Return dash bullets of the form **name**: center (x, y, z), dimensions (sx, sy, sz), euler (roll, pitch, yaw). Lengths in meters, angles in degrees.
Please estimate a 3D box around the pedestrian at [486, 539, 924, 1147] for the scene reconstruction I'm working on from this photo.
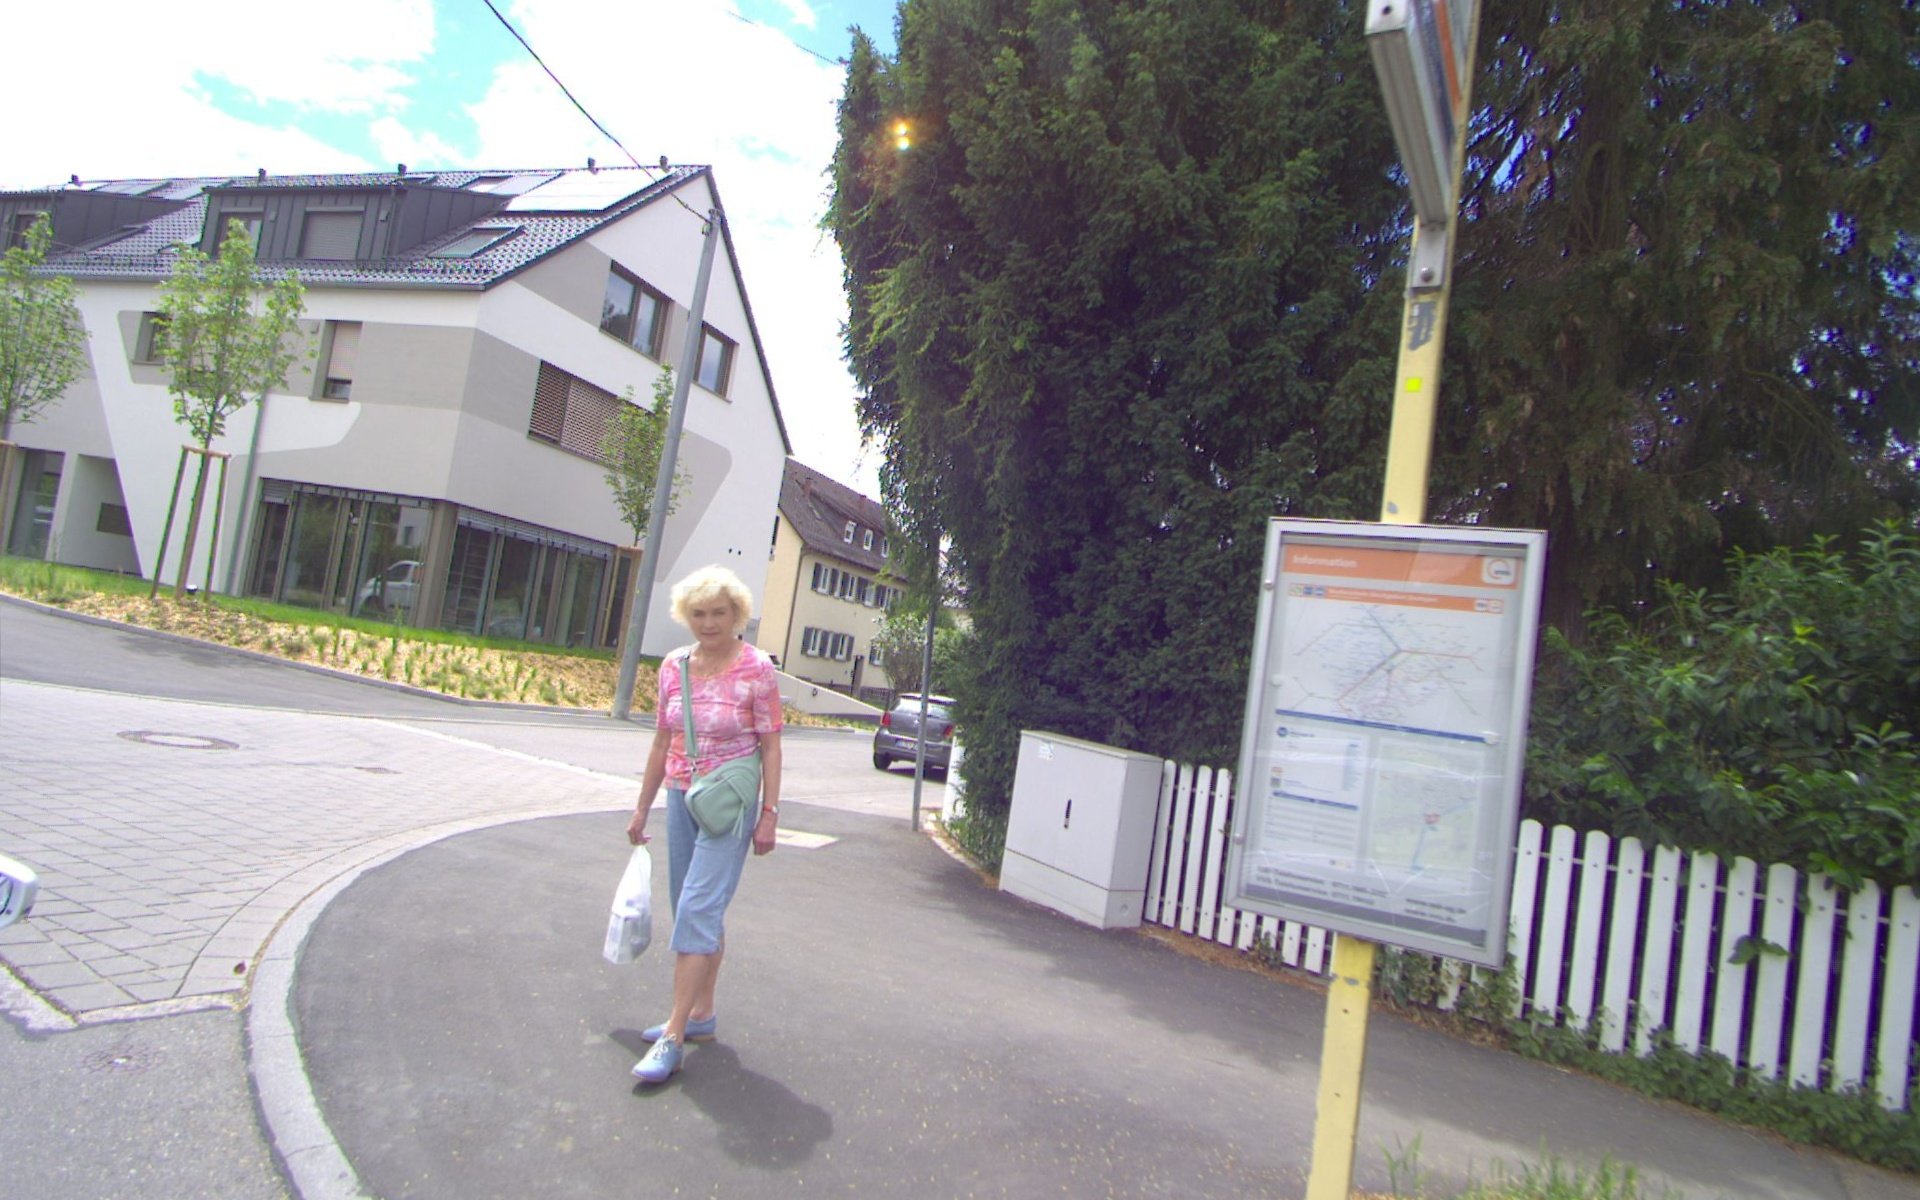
- **pedestrian**: center (-0.834, 0.718, 3.427), dimensions (0.869, 1.662, 0.856), euler (6, -4, 33)

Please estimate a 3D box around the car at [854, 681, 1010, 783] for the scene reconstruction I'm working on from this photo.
- **car**: center (-0.405, 2.510, 18.895), dimensions (1.682, 1.471, 3.544), euler (8, -6, 18)
